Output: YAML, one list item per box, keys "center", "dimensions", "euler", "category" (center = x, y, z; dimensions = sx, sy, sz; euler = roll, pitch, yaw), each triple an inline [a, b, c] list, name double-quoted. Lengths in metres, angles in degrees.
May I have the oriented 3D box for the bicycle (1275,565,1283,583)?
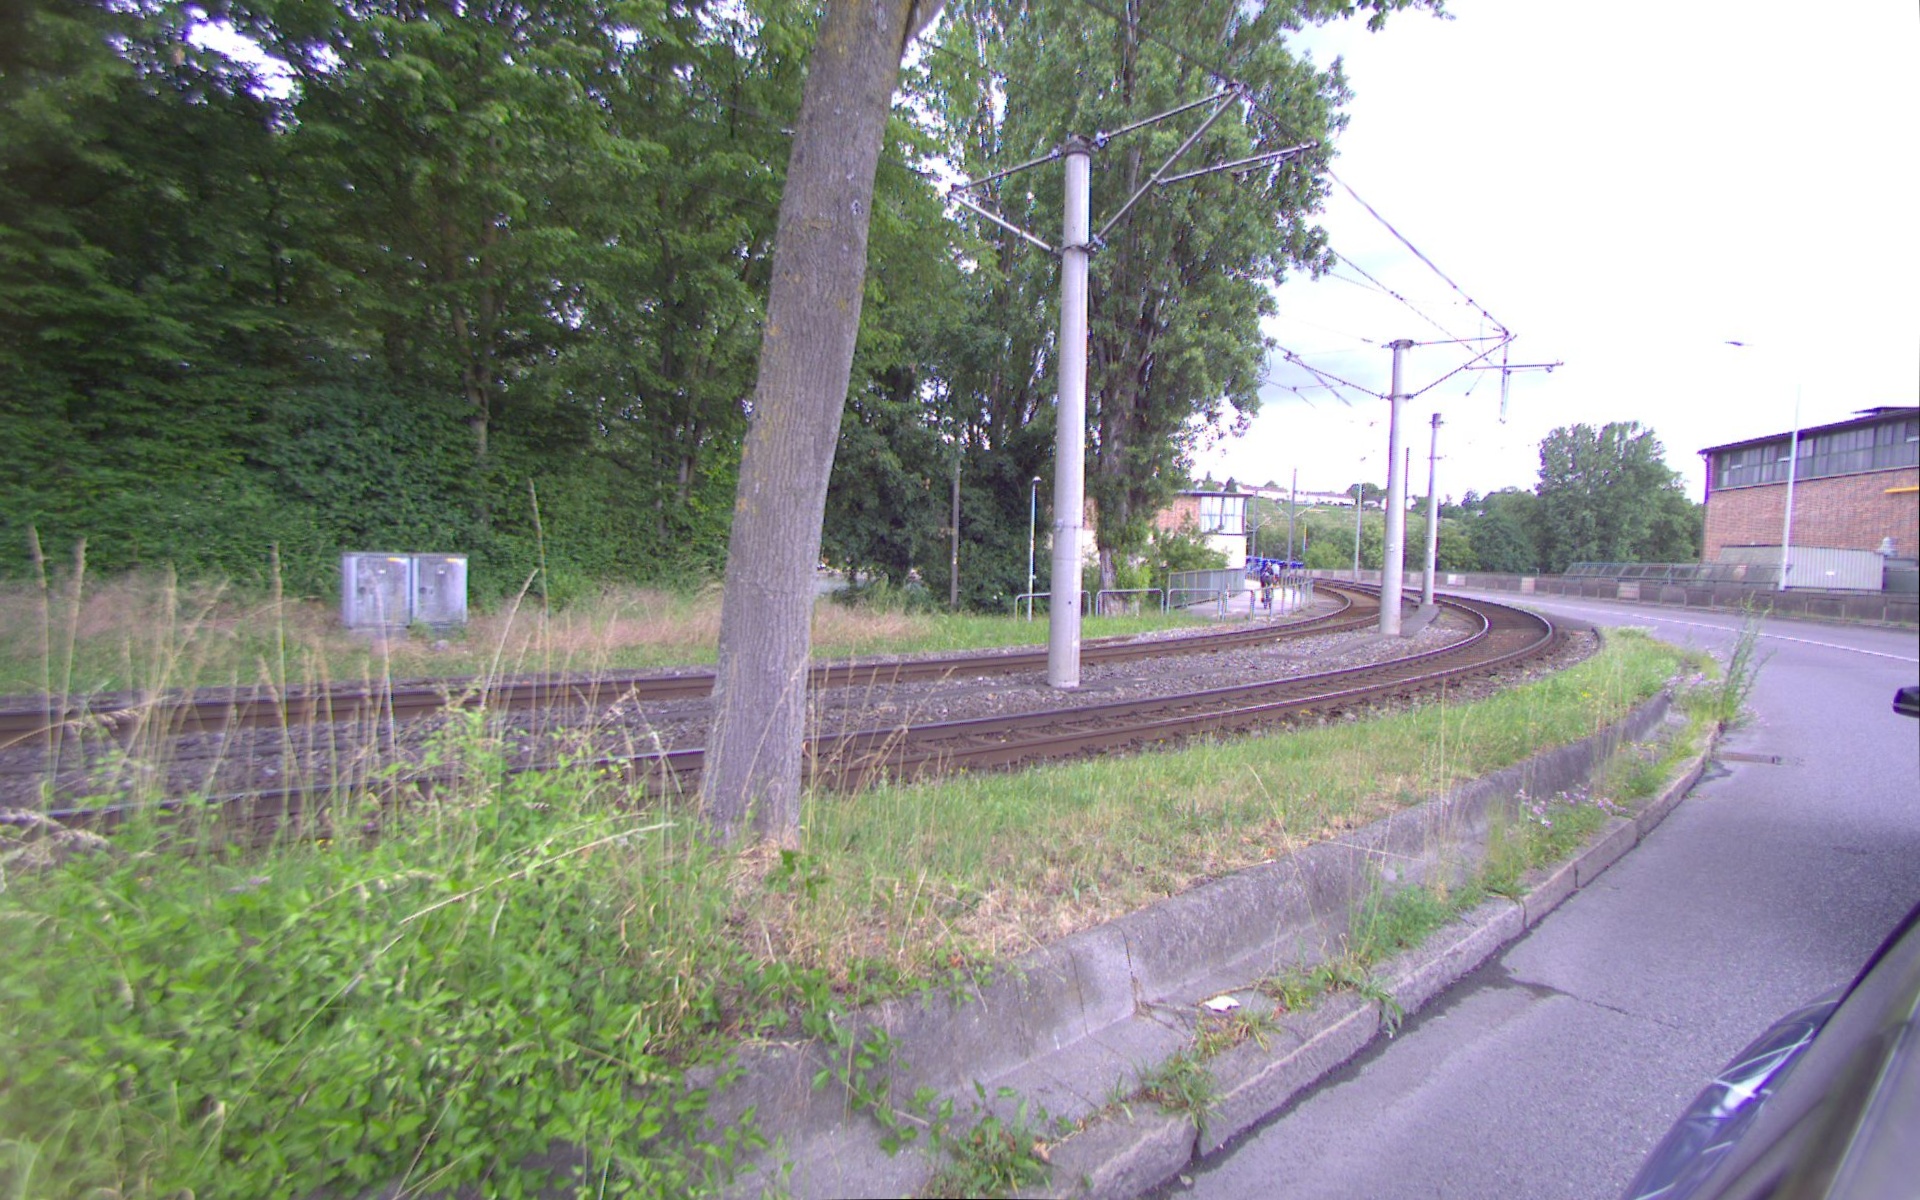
- center: [19.109, -1.534, 60.619]
  dimensions: [0.421, 1.063, 2.069]
  euler: [1, 1, 17]
  category: "bicycle"

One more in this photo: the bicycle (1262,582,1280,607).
- center: [10.633, -0.207, 34.587]
  dimensions: [0.344, 0.804, 1.535]
  euler: [2, 2, 25]
  category: "bicycle"

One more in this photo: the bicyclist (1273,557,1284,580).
- center: [19.078, -1.870, 60.603]
  dimensions: [0.587, 1.377, 0.906]
  euler: [1, 1, 16]
  category: "bicyclist"

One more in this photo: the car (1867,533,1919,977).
- center: [5.541, 0.574, 4.452]
  dimensions: [3.932, 1.641, 1.859]
  euler: [-2, 4, -42]
  category: "car"

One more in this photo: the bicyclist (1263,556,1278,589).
- center: [10.597, -0.943, 34.538]
  dimensions: [0.413, 1.097, 0.470]
  euler: [2, 2, 25]
  category: "bicyclist"
